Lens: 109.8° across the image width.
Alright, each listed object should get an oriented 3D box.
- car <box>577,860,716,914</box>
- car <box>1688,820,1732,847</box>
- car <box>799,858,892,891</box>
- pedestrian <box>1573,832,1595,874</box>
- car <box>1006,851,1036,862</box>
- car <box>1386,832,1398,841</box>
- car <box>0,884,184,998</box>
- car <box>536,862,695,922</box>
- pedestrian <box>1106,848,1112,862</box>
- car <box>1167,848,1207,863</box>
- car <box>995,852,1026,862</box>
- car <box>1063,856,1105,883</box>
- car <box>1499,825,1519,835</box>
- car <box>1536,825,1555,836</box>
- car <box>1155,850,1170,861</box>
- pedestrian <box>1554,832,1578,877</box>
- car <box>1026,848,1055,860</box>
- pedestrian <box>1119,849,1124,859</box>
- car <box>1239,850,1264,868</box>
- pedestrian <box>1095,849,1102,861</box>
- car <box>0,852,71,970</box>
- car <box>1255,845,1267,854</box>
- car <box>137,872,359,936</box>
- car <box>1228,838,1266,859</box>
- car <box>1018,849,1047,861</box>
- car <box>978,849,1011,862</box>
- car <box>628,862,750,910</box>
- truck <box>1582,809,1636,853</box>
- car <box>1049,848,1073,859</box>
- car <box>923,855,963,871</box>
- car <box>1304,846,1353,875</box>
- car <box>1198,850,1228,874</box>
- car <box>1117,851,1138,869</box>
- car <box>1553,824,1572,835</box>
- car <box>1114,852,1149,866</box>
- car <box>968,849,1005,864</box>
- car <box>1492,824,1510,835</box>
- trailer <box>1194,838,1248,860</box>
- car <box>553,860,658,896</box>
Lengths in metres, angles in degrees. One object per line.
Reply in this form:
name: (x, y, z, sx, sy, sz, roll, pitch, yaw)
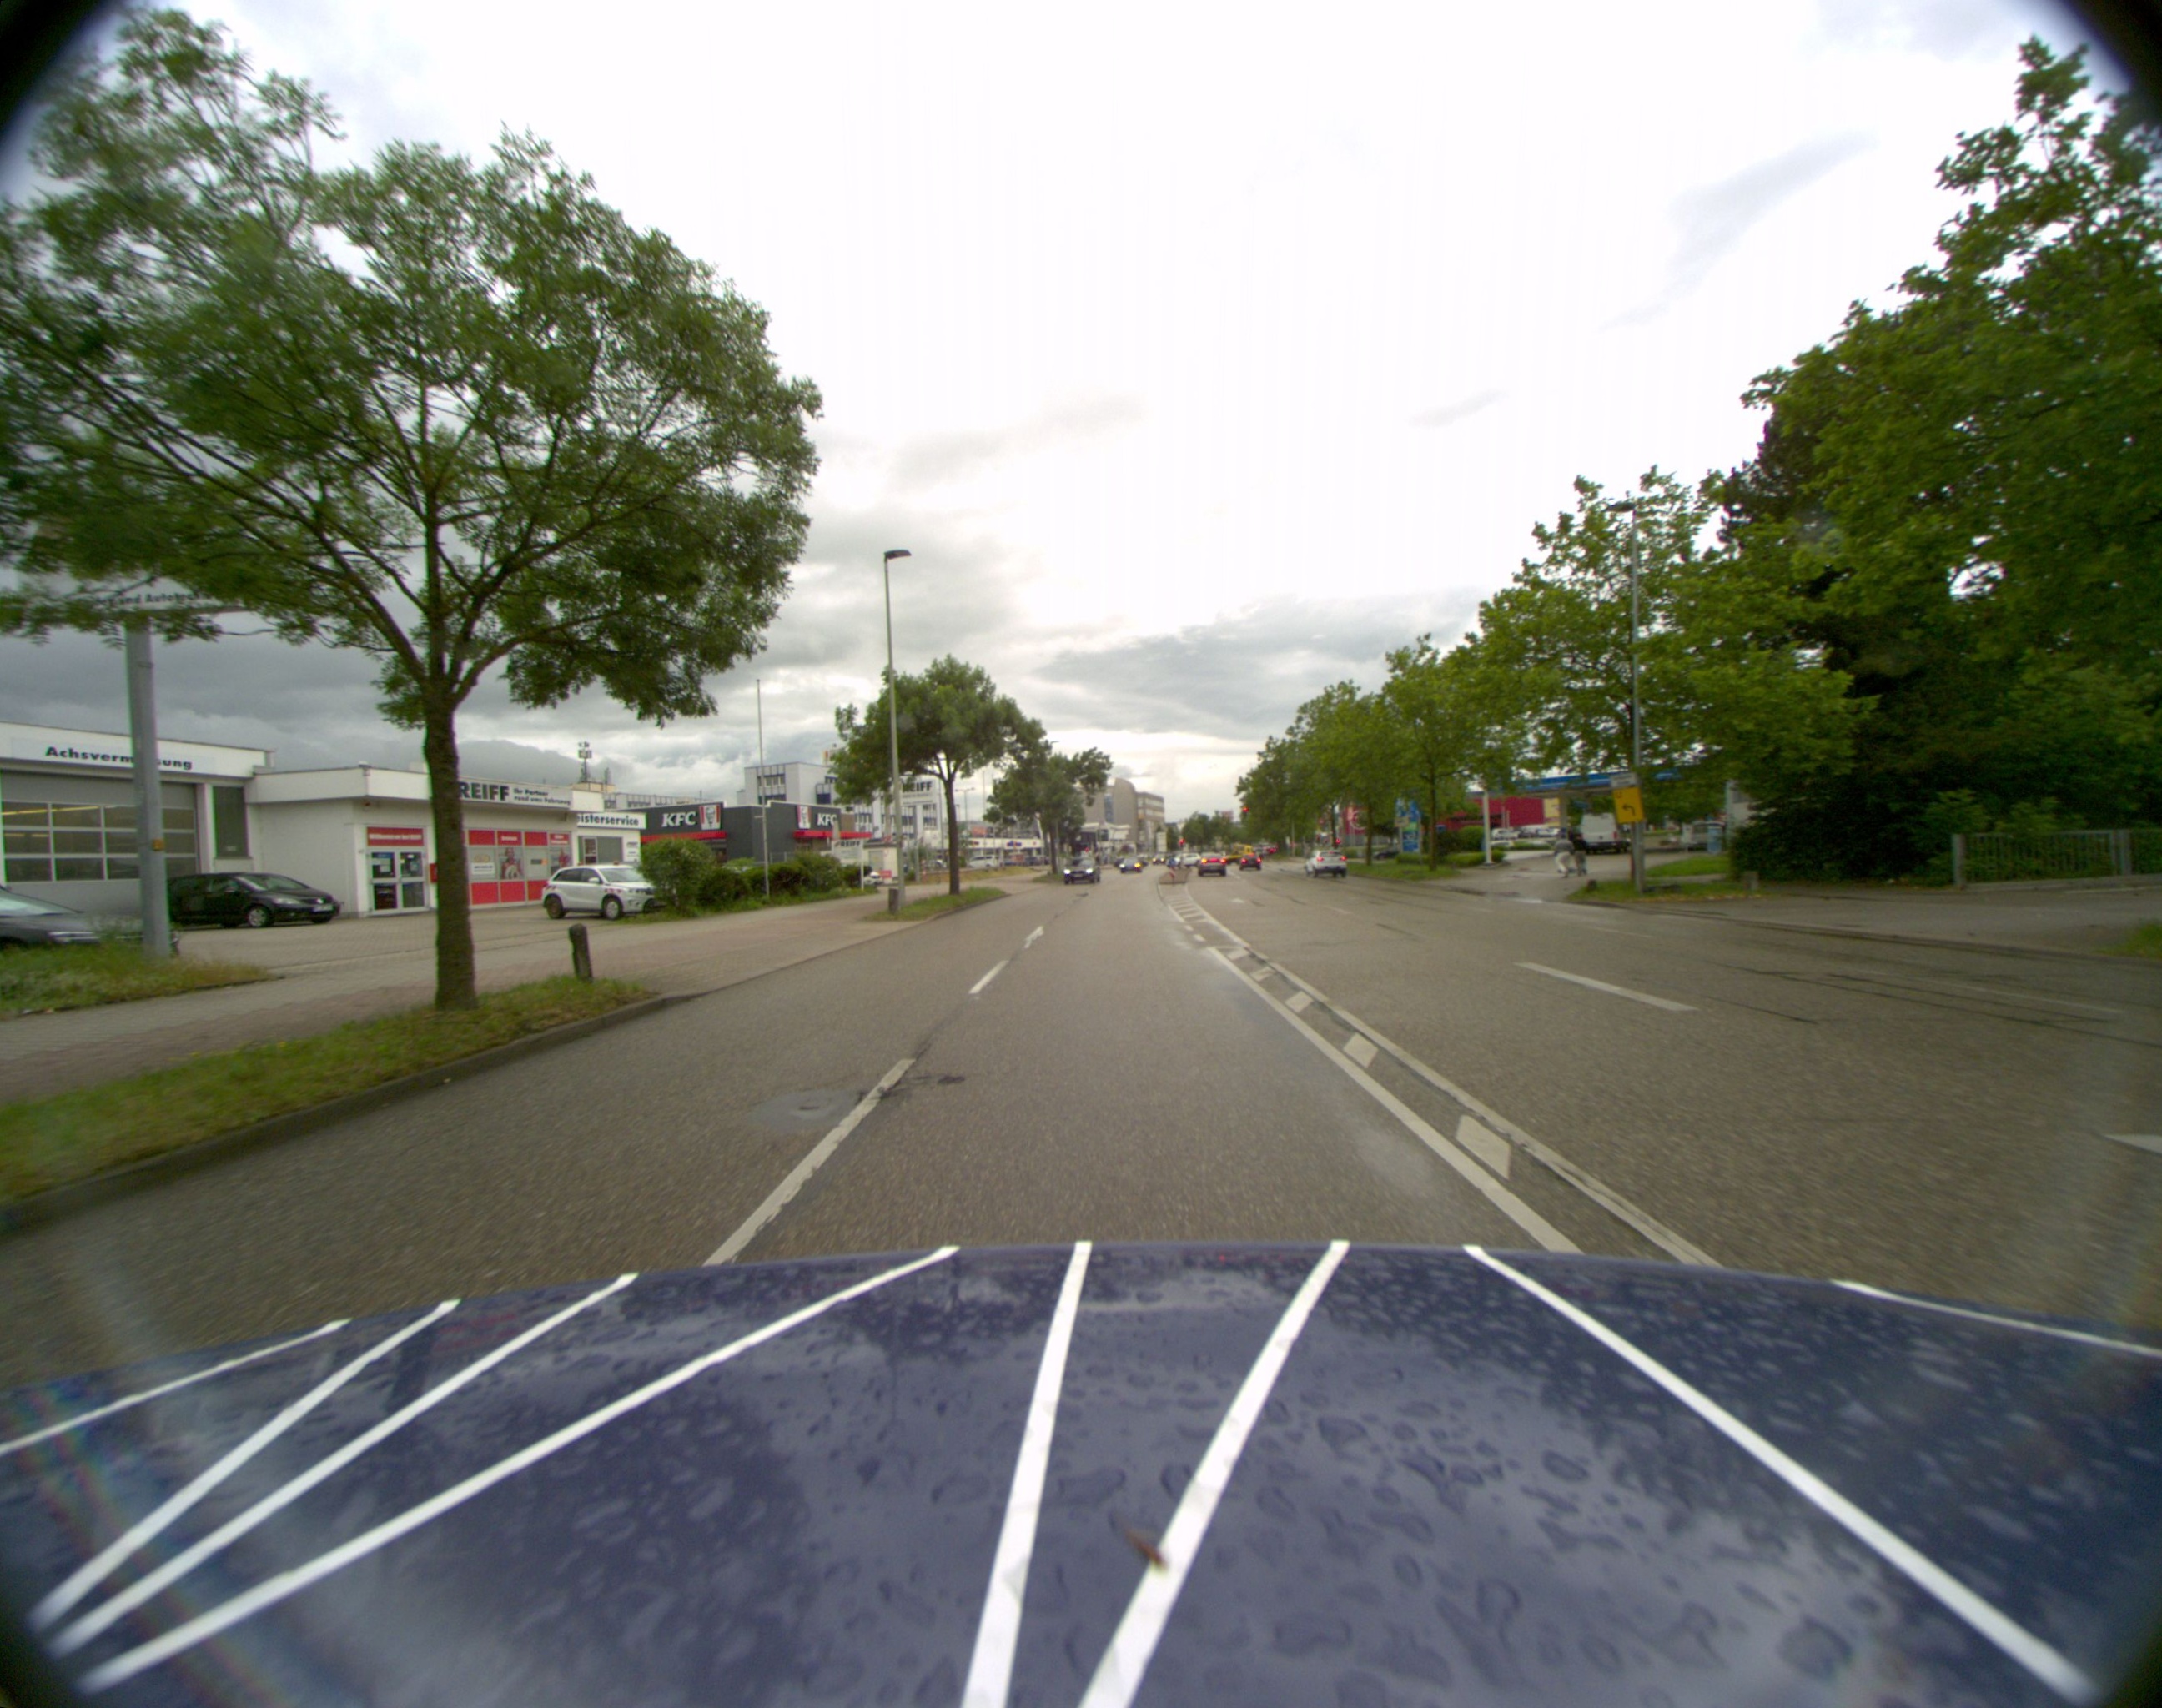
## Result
car: (-14.316, 1.071, 25.049, 4.146, 1.652, 1.824, -1, -1, 23)
car: (40.151, -1.312, 48.460, 3.569, 1.573, 1.685, -4, 2, -43)
car: (-12.286, 1.068, 39.731, 4.181, 1.543, 1.891, -2, 0, 11)
pedestrian: (20.241, -0.044, 30.583, 0.513, 1.673, 0.540, -1, 1, 4)
car: (-9.643, 0.397, 122.201, 4.366, 1.754, 1.899, -2, 0, 18)
car: (58.975, -3.283, 144.193, 1.694, 1.636, 3.967, -2, 0, 17)
car: (-15.937, 1.233, 10.840, 3.692, 1.455, 1.792, -1, 0, -13)
car: (-13.816, 1.090, 22.565, 4.058, 1.588, 1.988, -1, 1, 23)
pedestrian: (4.145, 0.169, 112.910, 0.740, 2.002, 0.698, -1, 0, 13)
car: (11.908, 0.174, 85.481, 4.004, 1.544, 1.898, -3, 0, -23)
car: (-10.811, 0.459, 116.302, 4.366, 1.385, 1.826, -2, 0, 18)
car: (0.240, 0.936, 48.002, 1.899, 1.544, 4.595, -2, 0, 9)
car: (62.511, -3.540, 111.090, 1.670, 1.373, 3.914, -2, 0, 17)
car: (77.306, -3.940, 126.566, 1.670, 1.636, 3.967, -2, 0, 17)
car: (12.212, 0.230, 113.579, 1.752, 1.455, 4.003, -2, 0, 12)
pedestrian: (19.496, 0.017, 30.567, 0.665, 1.756, 0.584, -3, 1, 25)
car: (-6.838, 0.070, 128.800, 4.366, 1.895, 1.899, -2, 1, 18)
pedestrian: (6.640, -0.016, 124.782, 0.713, 1.701, 0.698, -1, 0, 19)
car: (15.411, 0.401, 69.018, 1.997, 1.499, 4.734, -1, 0, 10)
pedestrian: (2.537, 0.162, 109.477, 0.817, 1.765, 0.696, -2, 2, -25)
car: (-22.022, 1.109, 13.840, 4.664, 2.137, 1.965, -2, 0, 2)
car: (32.728, -0.830, 137.950, 1.785, 1.396, 4.005, -2, 0, 18)
car: (-23.122, 1.350, 21.203, 4.064, 1.494, 1.985, -2, 0, 3)
car: (21.330, -0.769, 97.576, 5.025, 2.459, 2.241, -2, -2, -44)
car: (-8.087, 0.191, 126.464, 4.366, 1.754, 1.899, -2, 0, 18)
car: (-12.752, 0.204, 112.065, 4.366, 1.809, 1.899, -2, 0, 18)
car: (-14.273, 1.146, 27.664, 4.145, 1.652, 1.825, -1, -1, 26)
truck: (35.358, -1.458, 50.753, 2.149, 2.659, 7.889, -1, 0, 41)
car: (-3.721, -0.100, 140.525, 3.991, 2.002, 1.914, -2, 0, 21)
car: (-16.172, 1.047, 89.363, 4.241, 1.772, 1.801, -2, -2, 14)
car: (14.837, 0.360, 45.820, 1.932, 1.610, 4.400, -2, 1, 6)
car: (9.430, 0.558, 54.557, 1.815, 1.553, 4.599, -2, 1, 6)
car: (4.487, 0.533, 72.132, 1.799, 1.623, 4.553, -1, 0, 5)
car: (79.777, -4.010, 125.862, 1.670, 1.636, 3.967, -2, 0, 17)
car: (6.094, 0.589, 91.542, 3.994, 1.532, 1.815, -2, 2, 10)
car: (-13.505, 0.402, 108.849, 4.777, 2.002, 2.003, -2, 0, 19)
car: (63.564, -3.695, 115.032, 1.629, 1.636, 3.831, -2, 0, 17)
trailer: (17.326, -0.663, 93.653, 7.987, 2.459, 2.305, -2, -2, -45)
car: (-22.443, 1.120, 35.938, 3.855, 1.470, 1.787, -2, 1, 4)
